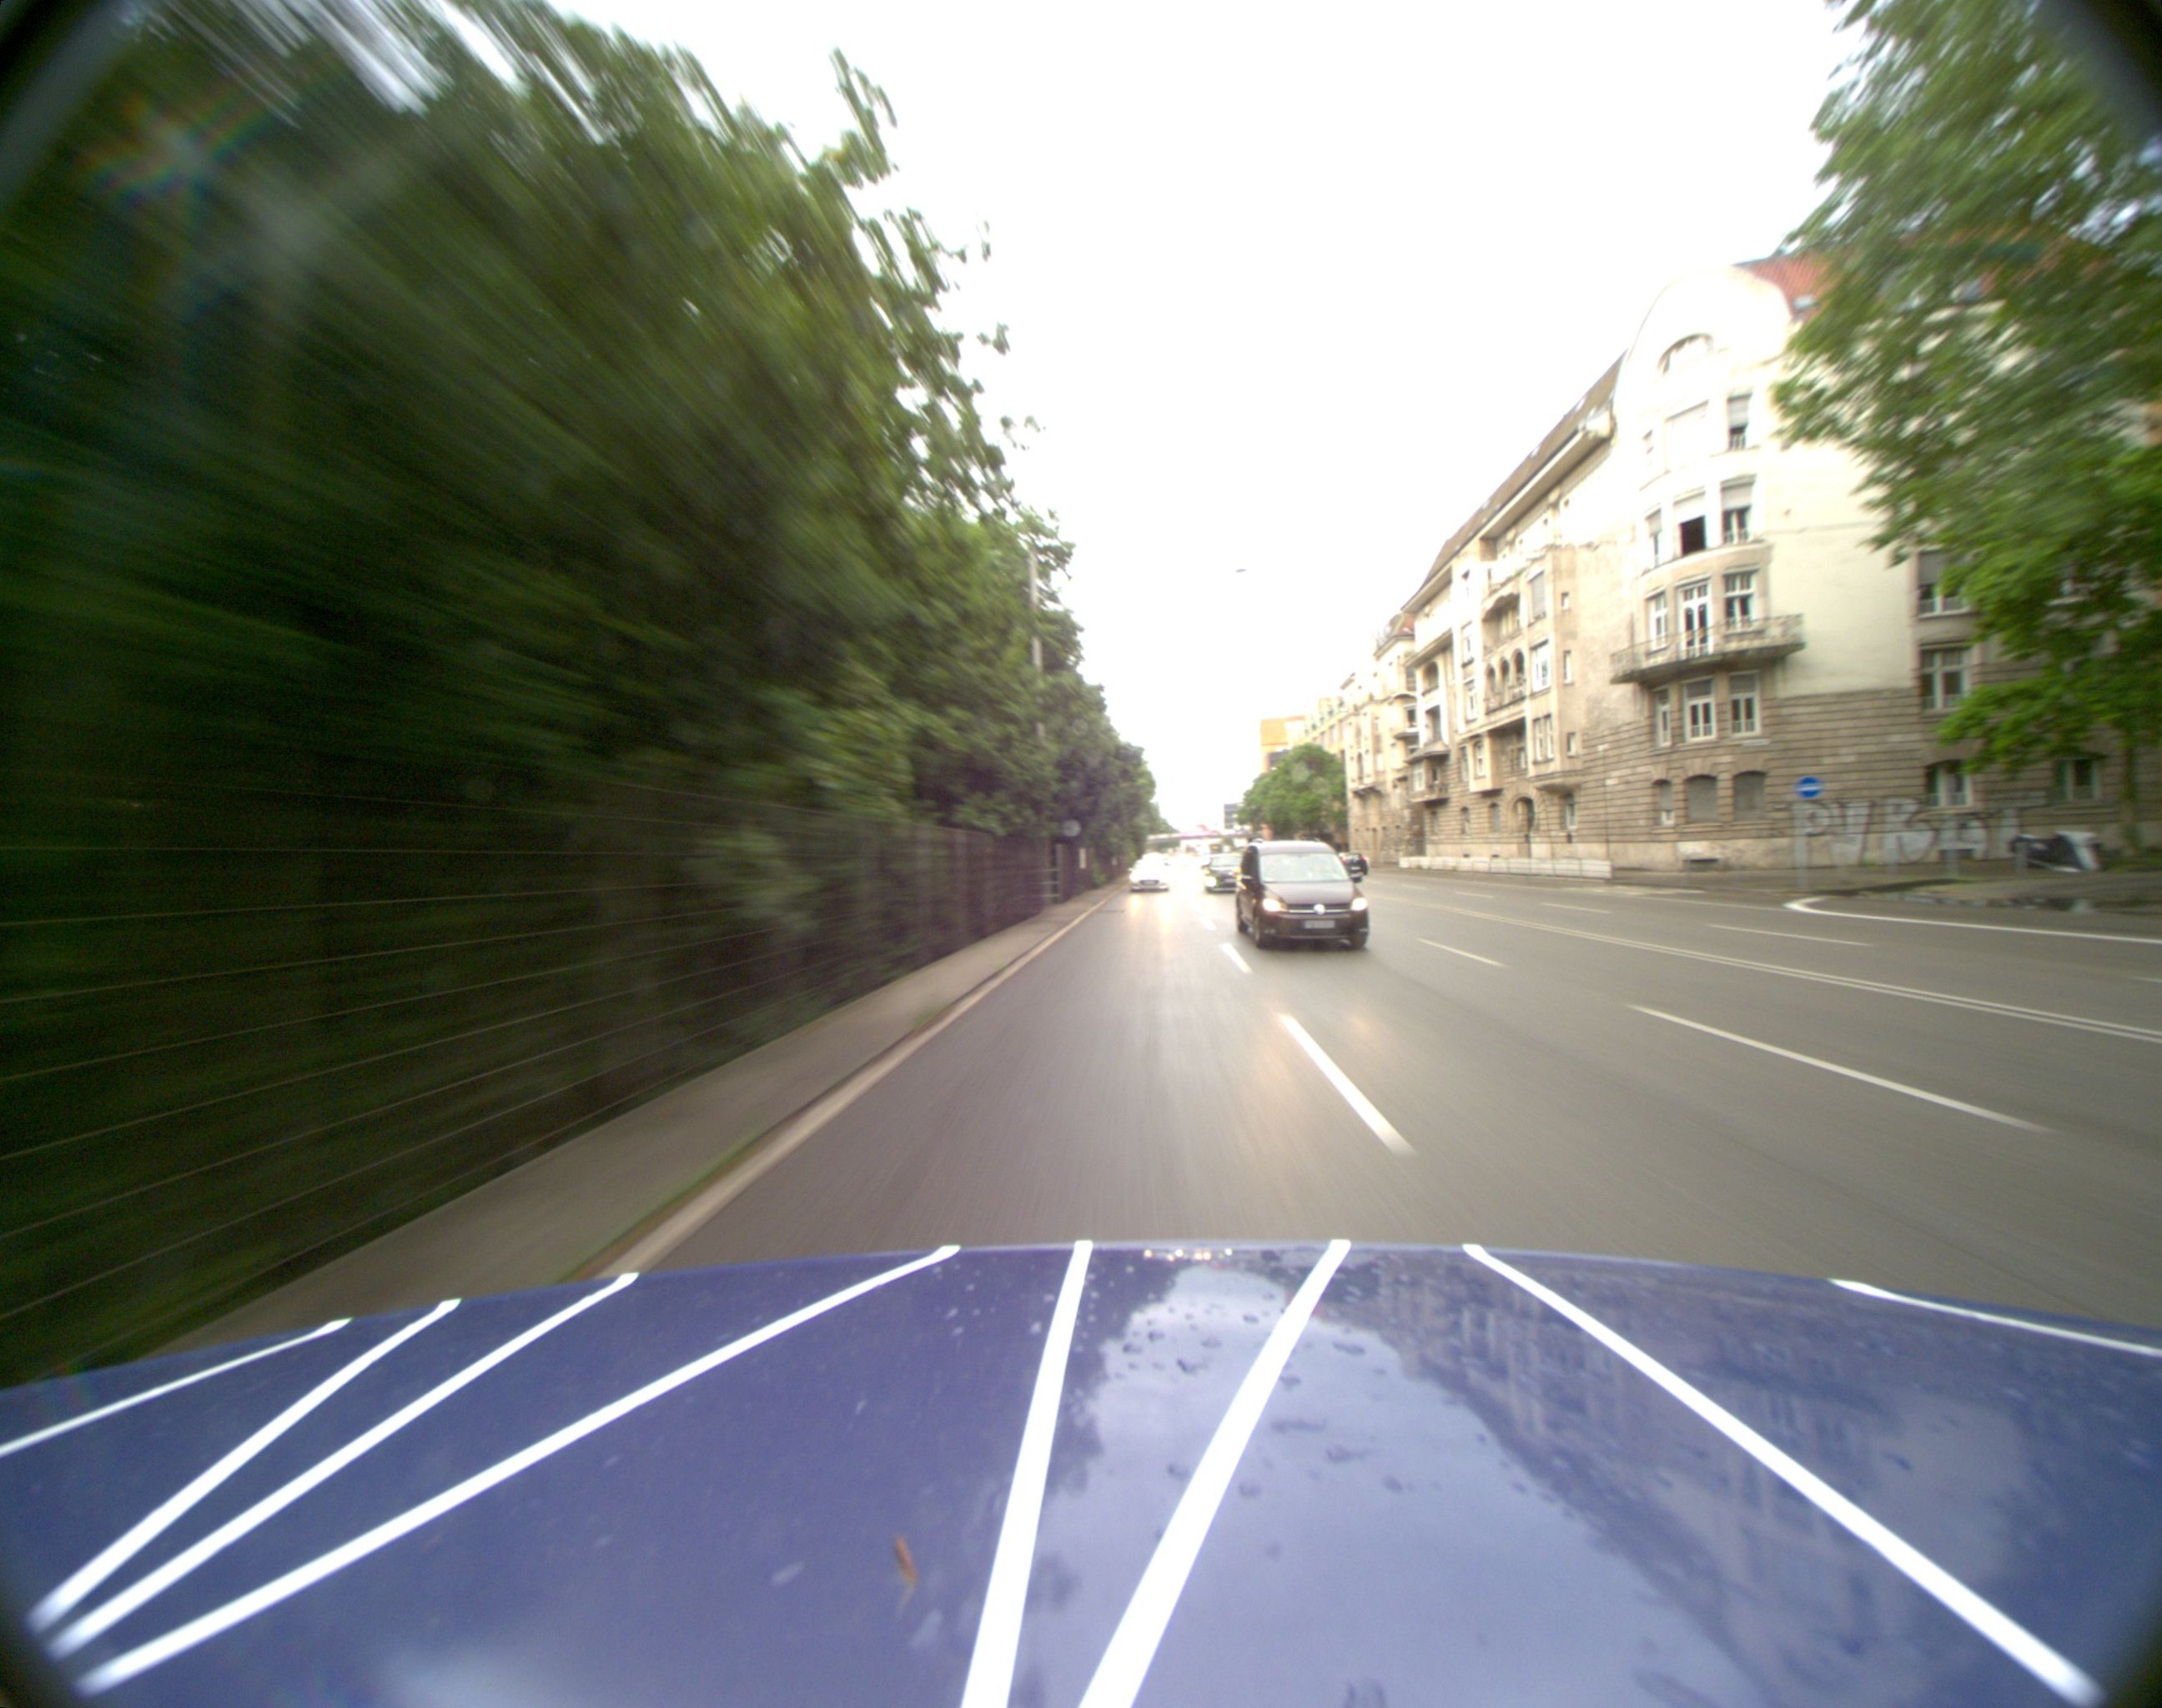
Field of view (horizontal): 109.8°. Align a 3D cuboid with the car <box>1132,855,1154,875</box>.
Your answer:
[{"bbox_3d":[6.037,1.050,73.653,1.800,1.587,4.001,-5,1,8],"label":"car"}]

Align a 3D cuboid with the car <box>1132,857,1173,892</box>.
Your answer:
[{"bbox_3d":[3.337,0.938,35.872,1.730,1.431,4.001,-4,0,4],"label":"car"}]

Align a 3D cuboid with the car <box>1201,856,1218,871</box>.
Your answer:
[{"bbox_3d":[14.265,1.067,84.417,1.730,1.502,3.733,-4,0,10],"label":"car"}]

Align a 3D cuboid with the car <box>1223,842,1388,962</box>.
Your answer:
[{"bbox_3d":[3.779,0.742,13.511,1.842,1.780,4.001,-2,0,2],"label":"car"}]

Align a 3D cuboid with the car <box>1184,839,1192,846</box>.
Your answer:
[{"bbox_3d":[25.155,-2.731,178.603,1.823,1.602,4.002,-5,1,9],"label":"car"}]

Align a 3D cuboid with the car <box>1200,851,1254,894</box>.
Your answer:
[{"bbox_3d":[6.172,0.737,32.404,1.730,1.604,4.001,-4,0,4],"label":"car"}]

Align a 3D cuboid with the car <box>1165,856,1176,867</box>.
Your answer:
[{"bbox_3d":[16.879,1.342,143.380,1.877,1.761,4.001,-5,1,6],"label":"car"}]

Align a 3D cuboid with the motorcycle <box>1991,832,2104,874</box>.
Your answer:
[{"bbox_3d":[28.083,-0.021,22.143,0.504,1.135,2.395,-3,0,9],"label":"motorcycle"}]

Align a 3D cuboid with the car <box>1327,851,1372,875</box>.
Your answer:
[{"bbox_3d":[16.750,0.538,47.561,1.705,1.331,3.916,-2,0,5],"label":"car"}]

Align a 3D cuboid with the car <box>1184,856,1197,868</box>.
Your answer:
[{"bbox_3d":[18.776,1.399,130.736,1.877,1.761,4.001,-5,1,6],"label":"car"}]

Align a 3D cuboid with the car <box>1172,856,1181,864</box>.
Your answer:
[{"bbox_3d":[22.308,1.379,176.909,1.877,1.761,4.001,-5,1,6],"label":"car"}]

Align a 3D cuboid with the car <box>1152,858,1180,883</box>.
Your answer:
[{"bbox_3d":[6.402,1.233,57.159,1.800,1.587,4.002,-5,1,9],"label":"car"}]
